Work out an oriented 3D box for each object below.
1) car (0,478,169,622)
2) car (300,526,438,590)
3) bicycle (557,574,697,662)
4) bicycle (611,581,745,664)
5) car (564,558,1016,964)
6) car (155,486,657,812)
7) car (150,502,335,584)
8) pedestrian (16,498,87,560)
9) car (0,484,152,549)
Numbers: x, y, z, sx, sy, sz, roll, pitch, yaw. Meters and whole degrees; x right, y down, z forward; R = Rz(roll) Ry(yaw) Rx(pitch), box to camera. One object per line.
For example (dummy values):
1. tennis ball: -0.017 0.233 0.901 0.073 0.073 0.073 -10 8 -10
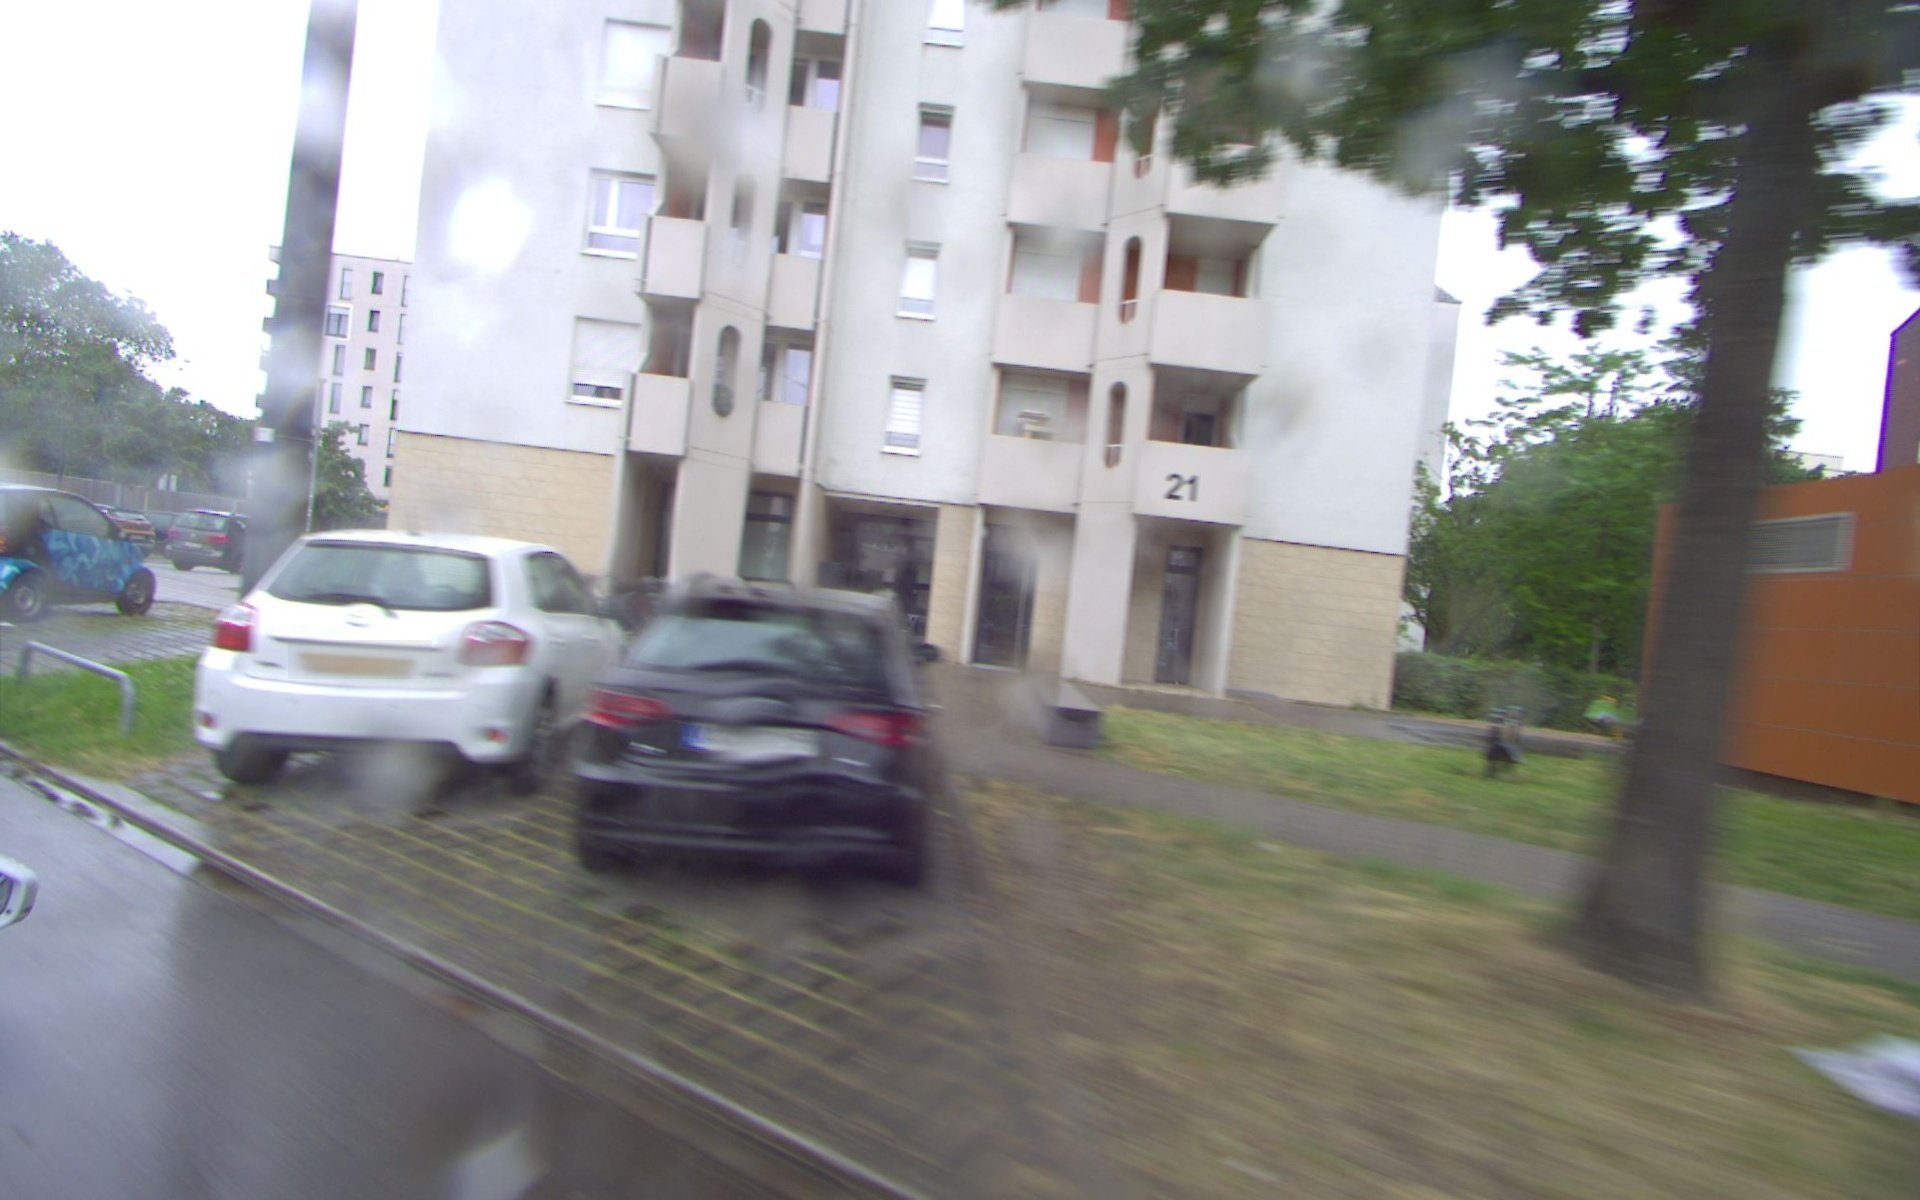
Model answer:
1. car: -11.341 -0.631 12.203 1.575 1.567 2.561 6 0 -8
2. car: -18.951 -1.288 32.509 1.781 1.551 4.115 7 -1 2
3. bicycle: -4.716 0.245 14.195 2.025 1.018 0.662 5 -1 32
4. bicycle: -4.222 0.321 15.009 2.025 1.018 0.662 5 -1 32
5. car: -0.828 0.587 5.961 1.654 1.451 3.936 6 3 -5
6. car: -3.519 0.168 7.362 1.734 1.569 4.175 6 3 -8
7. car: -19.202 -1.453 27.178 1.781 1.635 4.115 7 -1 2
8. pedestrian: -25.310 -1.979 28.048 1.074 1.536 0.838 6 0 3
9. car: -27.265 -2.557 30.482 3.924 1.458 2.001 6 -1 4
